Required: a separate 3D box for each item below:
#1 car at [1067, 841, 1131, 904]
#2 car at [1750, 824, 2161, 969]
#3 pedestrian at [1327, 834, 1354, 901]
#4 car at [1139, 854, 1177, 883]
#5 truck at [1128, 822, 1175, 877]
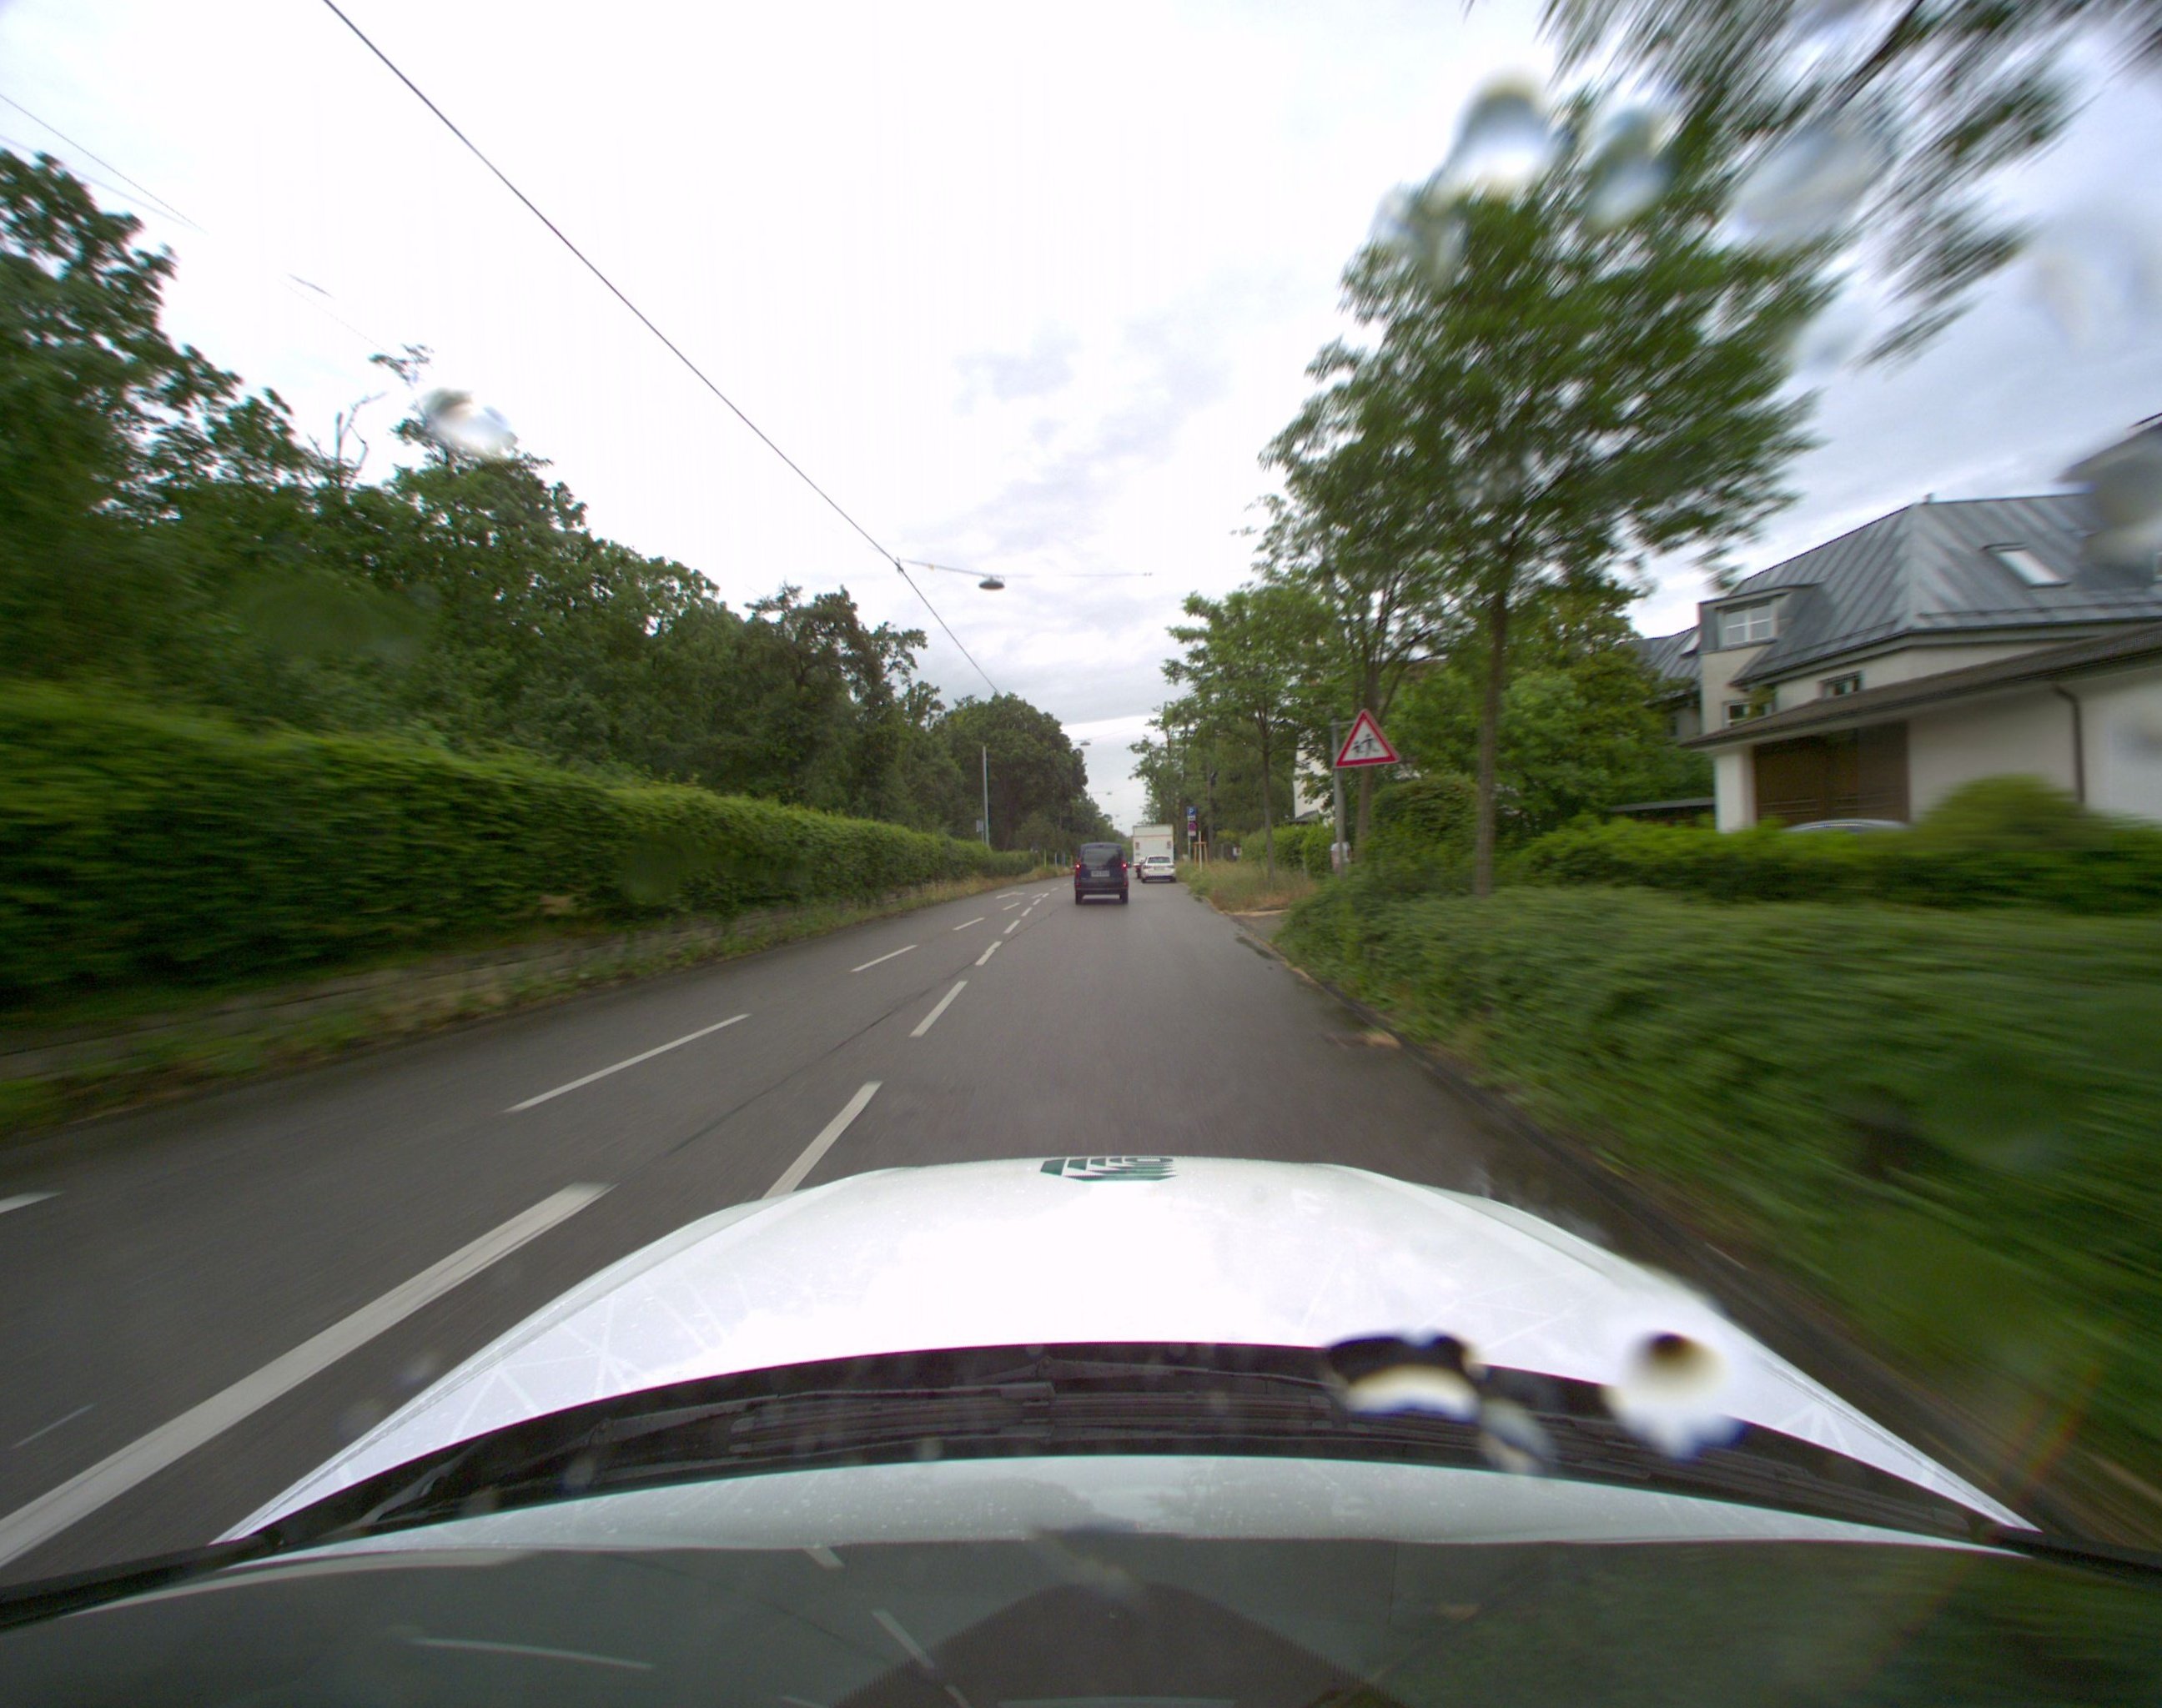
[{"bbox_3d":[0.486,0.551,25.882,1.804,1.797,3.998,-2,0,-1],"label":"car"},{"bbox_3d":[9.410,0.339,8.575,1.821,1.176,4.009,-1,0,8],"label":"car"},{"bbox_3d":[6.733,0.348,21.139,0.558,1.708,0.518,-2,0,12],"label":"pedestrian"},{"bbox_3d":[4.098,0.739,43.812,1.805,1.380,4.288,-2,0,3],"label":"car"},{"bbox_3d":[4.655,-0.283,54.611,2.721,3.387,6.689,-2,0,2],"label":"truck"}]
